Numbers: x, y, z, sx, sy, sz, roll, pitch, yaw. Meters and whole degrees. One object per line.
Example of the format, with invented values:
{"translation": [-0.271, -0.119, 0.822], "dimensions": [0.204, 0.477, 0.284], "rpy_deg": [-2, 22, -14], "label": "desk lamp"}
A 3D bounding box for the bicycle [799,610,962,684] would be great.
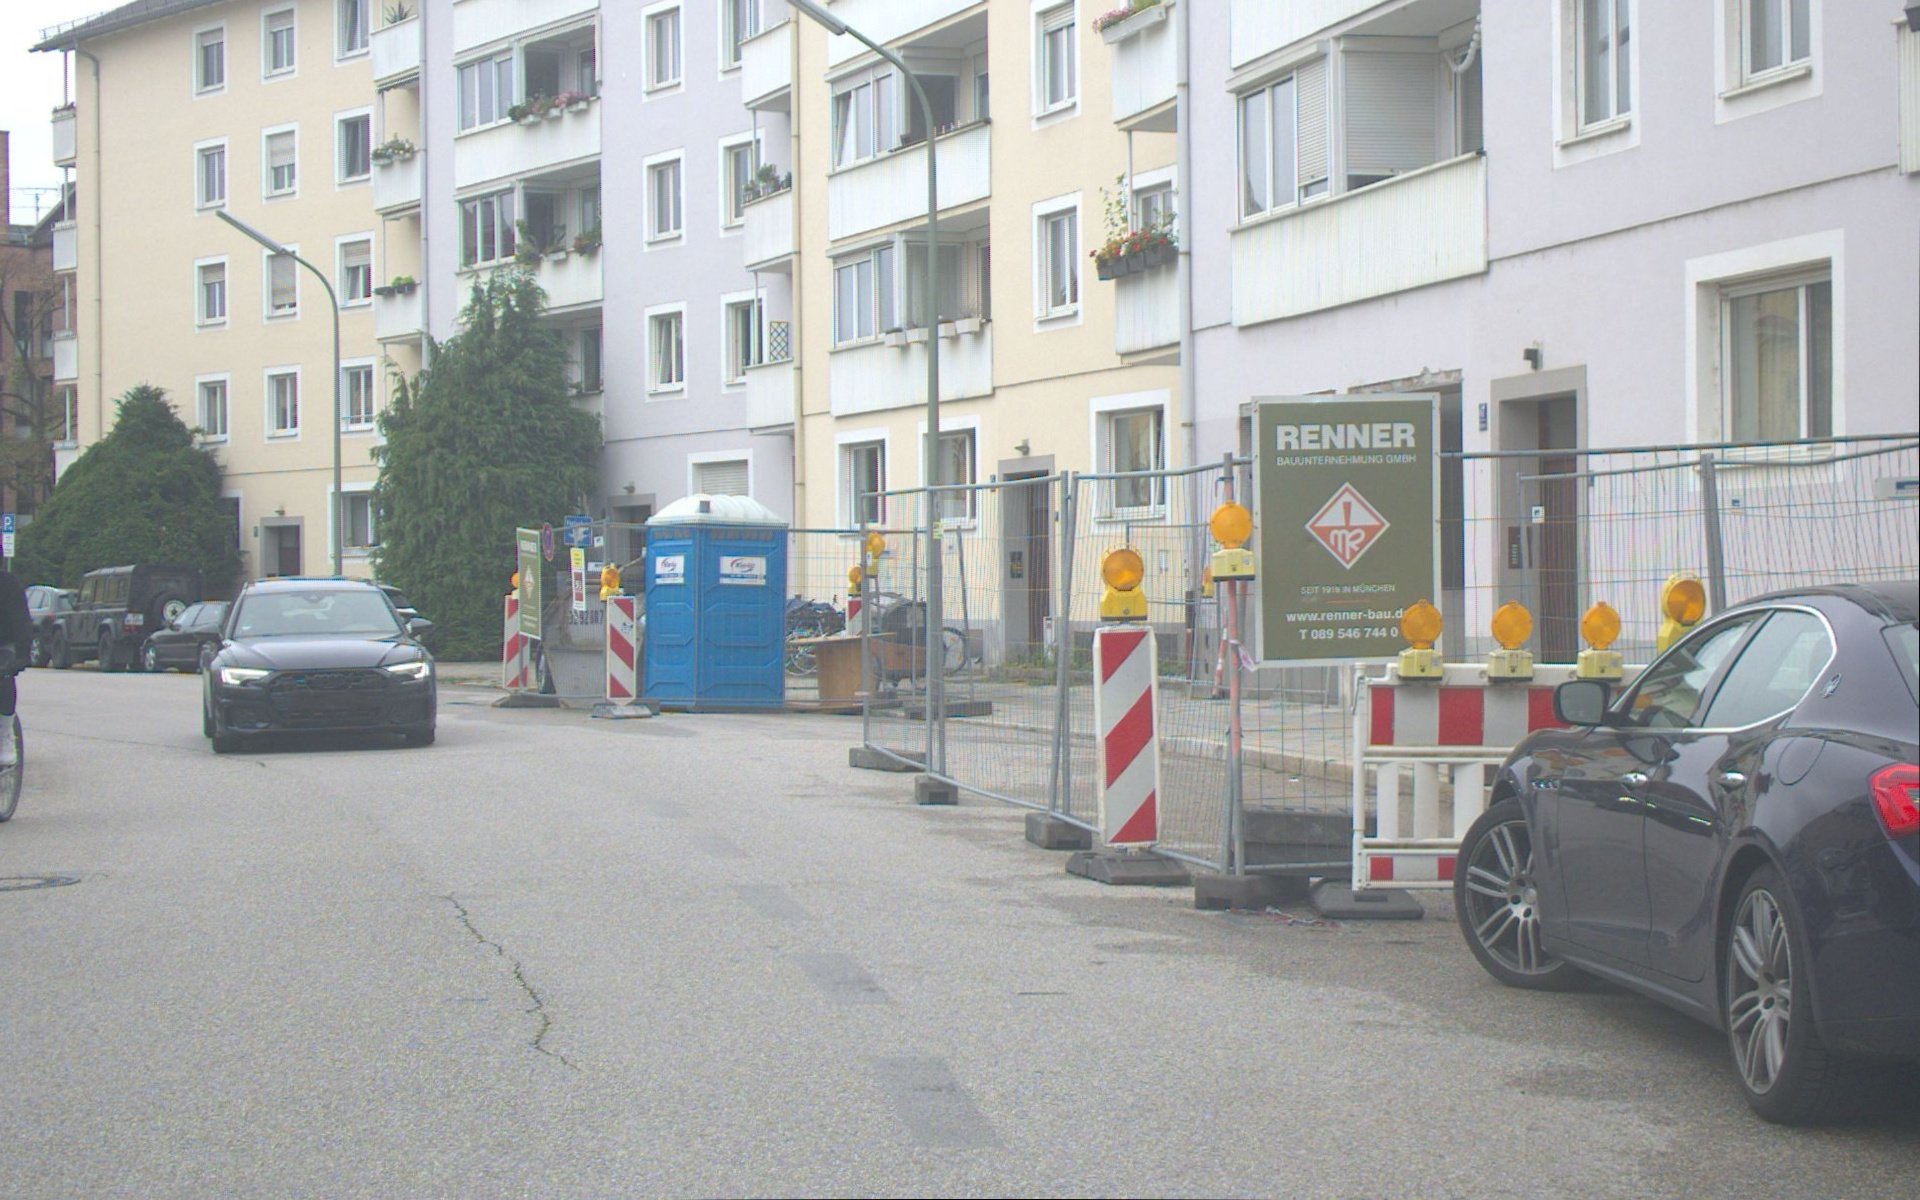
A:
{"translation": [-1.185, 0.686, 51.004], "dimensions": [2.232, 1.066, 0.920], "rpy_deg": [0, 0, -22], "label": "bicycle"}

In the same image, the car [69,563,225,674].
{"translation": [-15.389, 0.341, 64.985], "dimensions": [1.781, 1.970, 3.720], "rpy_deg": [-3, 1, -31], "label": "car"}

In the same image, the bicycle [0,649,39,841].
{"translation": [-5.963, 0.867, 20.867], "dimensions": [0.585, 1.066, 1.937], "rpy_deg": [-3, 1, -13], "label": "bicycle"}

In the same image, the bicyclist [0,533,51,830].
{"translation": [-5.990, 0.495, 20.925], "dimensions": [0.744, 1.765, 0.815], "rpy_deg": [-3, 1, -12], "label": "bicyclist"}

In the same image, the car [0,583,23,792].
{"translation": [-8.739, 0.729, 24.103], "dimensions": [1.713, 1.502, 3.800], "rpy_deg": [-2, 1, 42], "label": "car"}

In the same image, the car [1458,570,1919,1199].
{"translation": [2.966, 0.663, 10.670], "dimensions": [1.908, 1.472, 4.947], "rpy_deg": [0, 1, -3], "label": "car"}

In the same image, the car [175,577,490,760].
{"translation": [-5.471, 0.543, 30.579], "dimensions": [1.920, 1.407, 4.704], "rpy_deg": [-3, 0, -1], "label": "car"}

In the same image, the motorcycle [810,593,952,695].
{"translation": [-1.004, 0.530, 42.972], "dimensions": [0.931, 1.217, 2.508], "rpy_deg": [0, 0, -22], "label": "motorcycle"}

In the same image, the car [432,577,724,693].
{"translation": [-5.048, 0.434, 45.010], "dimensions": [1.781, 1.434, 4.280], "rpy_deg": [-1, 0, -38], "label": "car"}

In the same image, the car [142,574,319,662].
{"translation": [-13.016, 0.317, 61.221], "dimensions": [1.781, 1.514, 3.719], "rpy_deg": [1, 0, -34], "label": "car"}

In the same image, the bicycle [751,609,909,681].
{"translation": [-1.978, 0.671, 52.331], "dimensions": [2.232, 1.066, 0.920], "rpy_deg": [0, 0, -22], "label": "bicycle"}

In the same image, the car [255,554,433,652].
{"translation": [-10.265, 0.038, 57.101], "dimensions": [1.830, 1.568, 4.000], "rpy_deg": [0, 0, -27], "label": "car"}
